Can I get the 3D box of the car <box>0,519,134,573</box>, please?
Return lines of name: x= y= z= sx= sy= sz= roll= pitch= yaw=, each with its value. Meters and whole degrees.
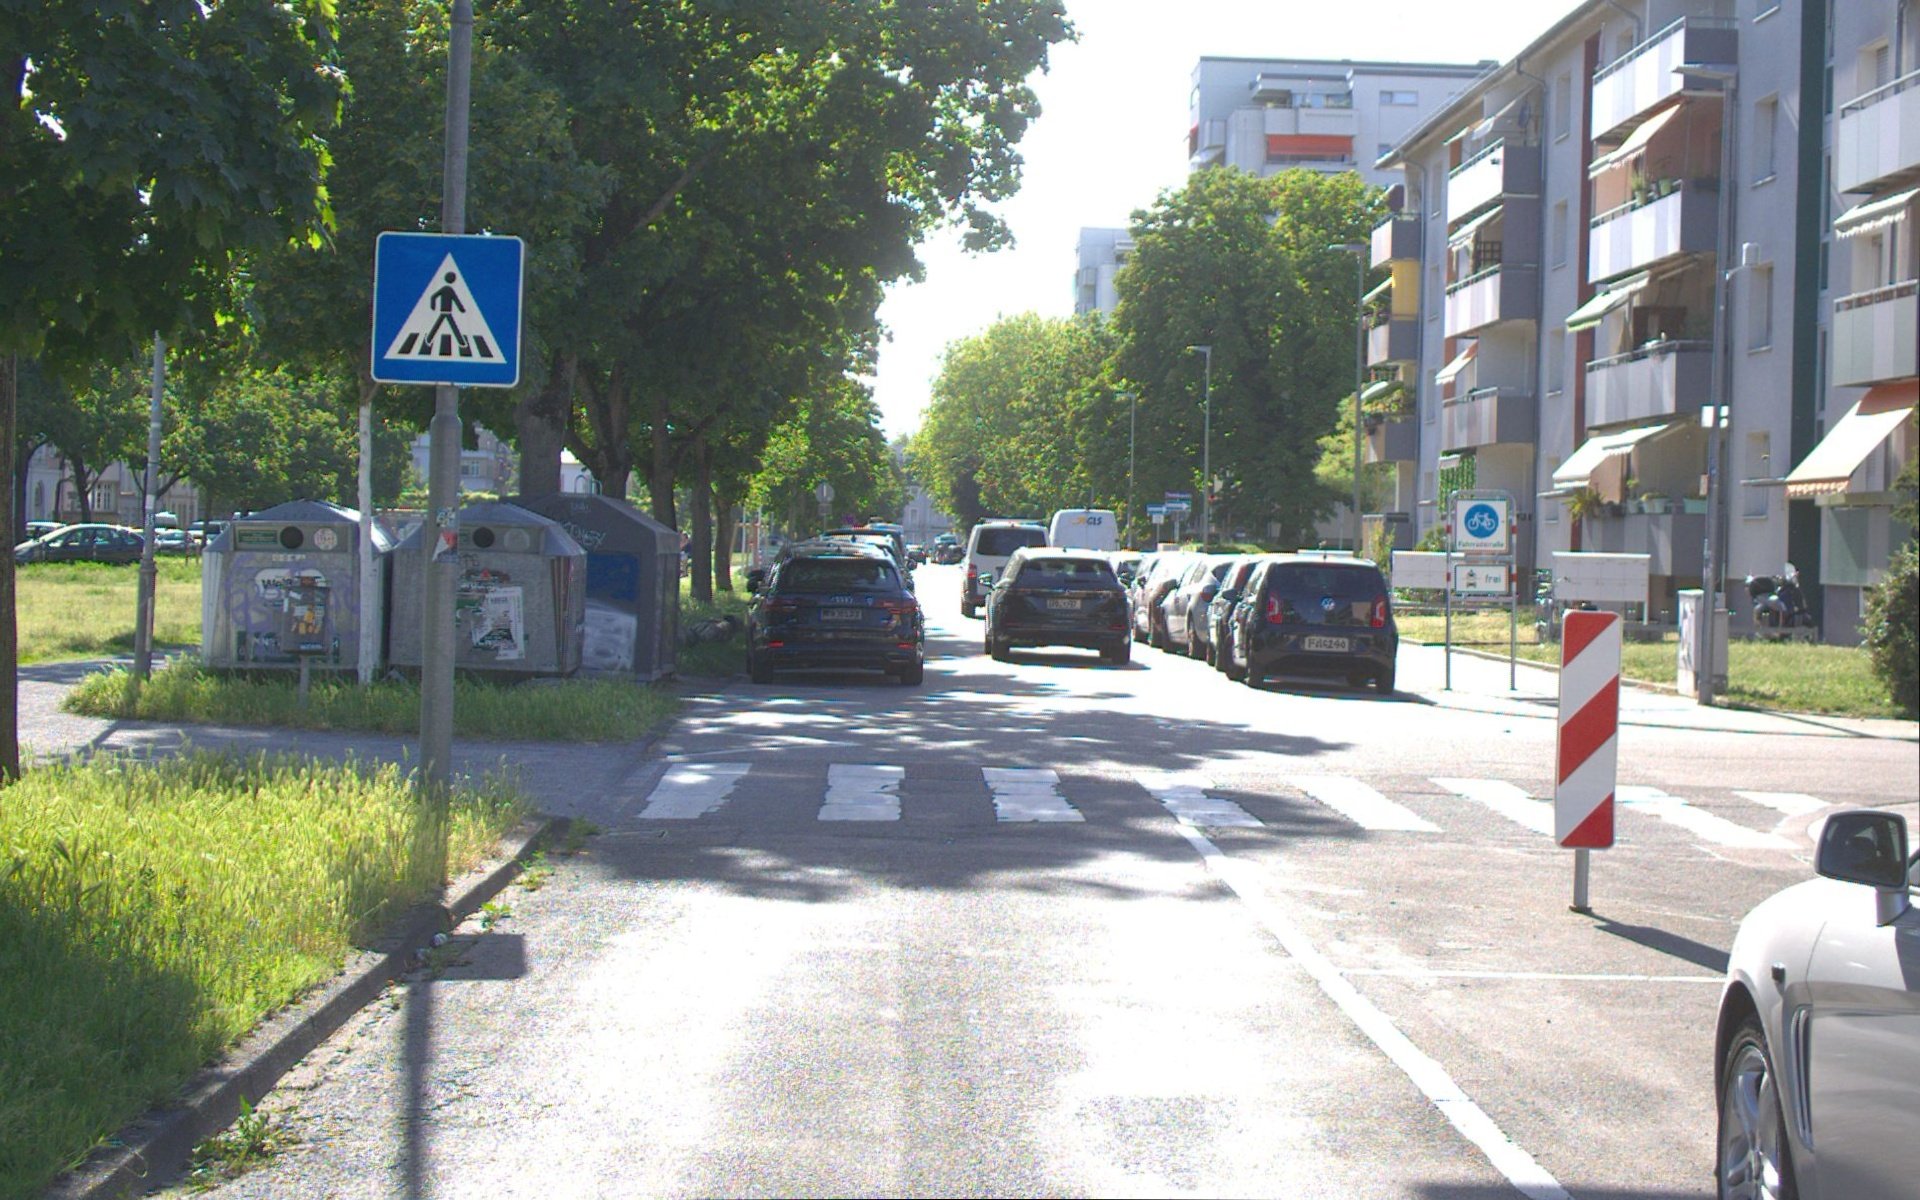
car: x=-26.615 y=-1.597 z=101.687 sx=3.986 sy=1.505 sz=1.800 roll=1 pitch=1 yaw=-4

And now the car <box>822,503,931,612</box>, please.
car: x=-1.565 y=-0.824 z=65.489 sx=1.993 sy=2.007 sz=4.000 roll=0 pitch=1 yaw=0

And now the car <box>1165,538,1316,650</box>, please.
car: x=4.008 y=-0.121 z=49.668 sx=1.794 sy=1.505 sz=4.000 roll=1 pitch=1 yaw=0

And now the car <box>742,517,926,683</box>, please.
car: x=-1.284 y=-0.045 z=36.566 sx=1.794 sy=1.619 sz=4.000 roll=2 pitch=1 yaw=0

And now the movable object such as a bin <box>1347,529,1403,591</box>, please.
movable object such as a bin: x=10.380 y=-1.011 z=86.055 sx=1.091 sy=1.505 sz=2.002 roll=1 pitch=1 yaw=0

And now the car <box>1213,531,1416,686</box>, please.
car: x=3.931 y=0.056 z=38.711 sx=1.794 sy=1.595 sz=4.000 roll=2 pitch=1 yaw=0

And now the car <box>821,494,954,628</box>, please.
car: x=-1.114 y=-0.631 z=53.939 sx=1.993 sy=2.007 sz=4.000 roll=0 pitch=1 yaw=0

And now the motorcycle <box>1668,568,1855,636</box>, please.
motorcycle: x=11.941 y=0.021 z=51.274 sx=2.558 sy=0.932 sz=0.830 roll=1 pitch=1 yaw=-3

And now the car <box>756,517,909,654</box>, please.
car: x=-1.587 y=-0.217 z=43.904 sx=1.794 sy=1.619 sz=4.000 roll=2 pitch=1 yaw=0

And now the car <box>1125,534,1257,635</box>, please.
car: x=3.683 y=-0.280 z=55.389 sx=1.794 sy=1.505 sz=4.000 roll=1 pitch=1 yaw=0

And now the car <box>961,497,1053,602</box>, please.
car: x=0.970 y=-1.080 z=72.471 sx=1.794 sy=2.115 sz=4.000 roll=1 pitch=1 yaw=0

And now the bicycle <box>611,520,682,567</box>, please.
bicycle: x=-10.384 y=-1.888 z=114.027 sx=2.322 sy=1.534 sz=0.630 roll=0 pitch=1 yaw=-5

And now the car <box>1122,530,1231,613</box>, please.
car: x=4.151 y=-0.575 z=66.495 sx=1.794 sy=1.505 sz=4.000 roll=1 pitch=1 yaw=0

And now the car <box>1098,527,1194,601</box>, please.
car: x=3.989 y=-0.790 z=74.143 sx=1.794 sy=1.505 sz=4.000 roll=1 pitch=1 yaw=0

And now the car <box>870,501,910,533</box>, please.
car: x=-3.275 y=-3.888 z=161.460 sx=1.794 sy=1.505 sz=4.000 roll=0 pitch=1 yaw=0

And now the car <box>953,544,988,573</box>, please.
car: x=0.559 y=-2.238 z=184.771 sx=1.794 sy=1.505 sz=4.000 roll=0 pitch=1 yaw=0

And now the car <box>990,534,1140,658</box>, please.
car: x=1.337 y=-0.084 z=45.296 sx=1.794 sy=1.505 sz=4.000 roll=1 pitch=1 yaw=0

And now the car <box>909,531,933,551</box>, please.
car: x=-2.944 y=-4.460 z=258.557 sx=1.794 sy=1.505 sz=4.000 roll=0 pitch=1 yaw=0

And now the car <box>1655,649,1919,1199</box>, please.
car: x=2.420 y=0.822 z=5.367 sx=1.764 sy=1.314 sz=4.168 roll=2 pitch=1 yaw=0

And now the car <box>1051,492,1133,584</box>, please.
car: x=3.701 y=-1.764 z=97.185 sx=1.993 sy=2.422 sz=4.500 roll=3 pitch=1 yaw=-1
